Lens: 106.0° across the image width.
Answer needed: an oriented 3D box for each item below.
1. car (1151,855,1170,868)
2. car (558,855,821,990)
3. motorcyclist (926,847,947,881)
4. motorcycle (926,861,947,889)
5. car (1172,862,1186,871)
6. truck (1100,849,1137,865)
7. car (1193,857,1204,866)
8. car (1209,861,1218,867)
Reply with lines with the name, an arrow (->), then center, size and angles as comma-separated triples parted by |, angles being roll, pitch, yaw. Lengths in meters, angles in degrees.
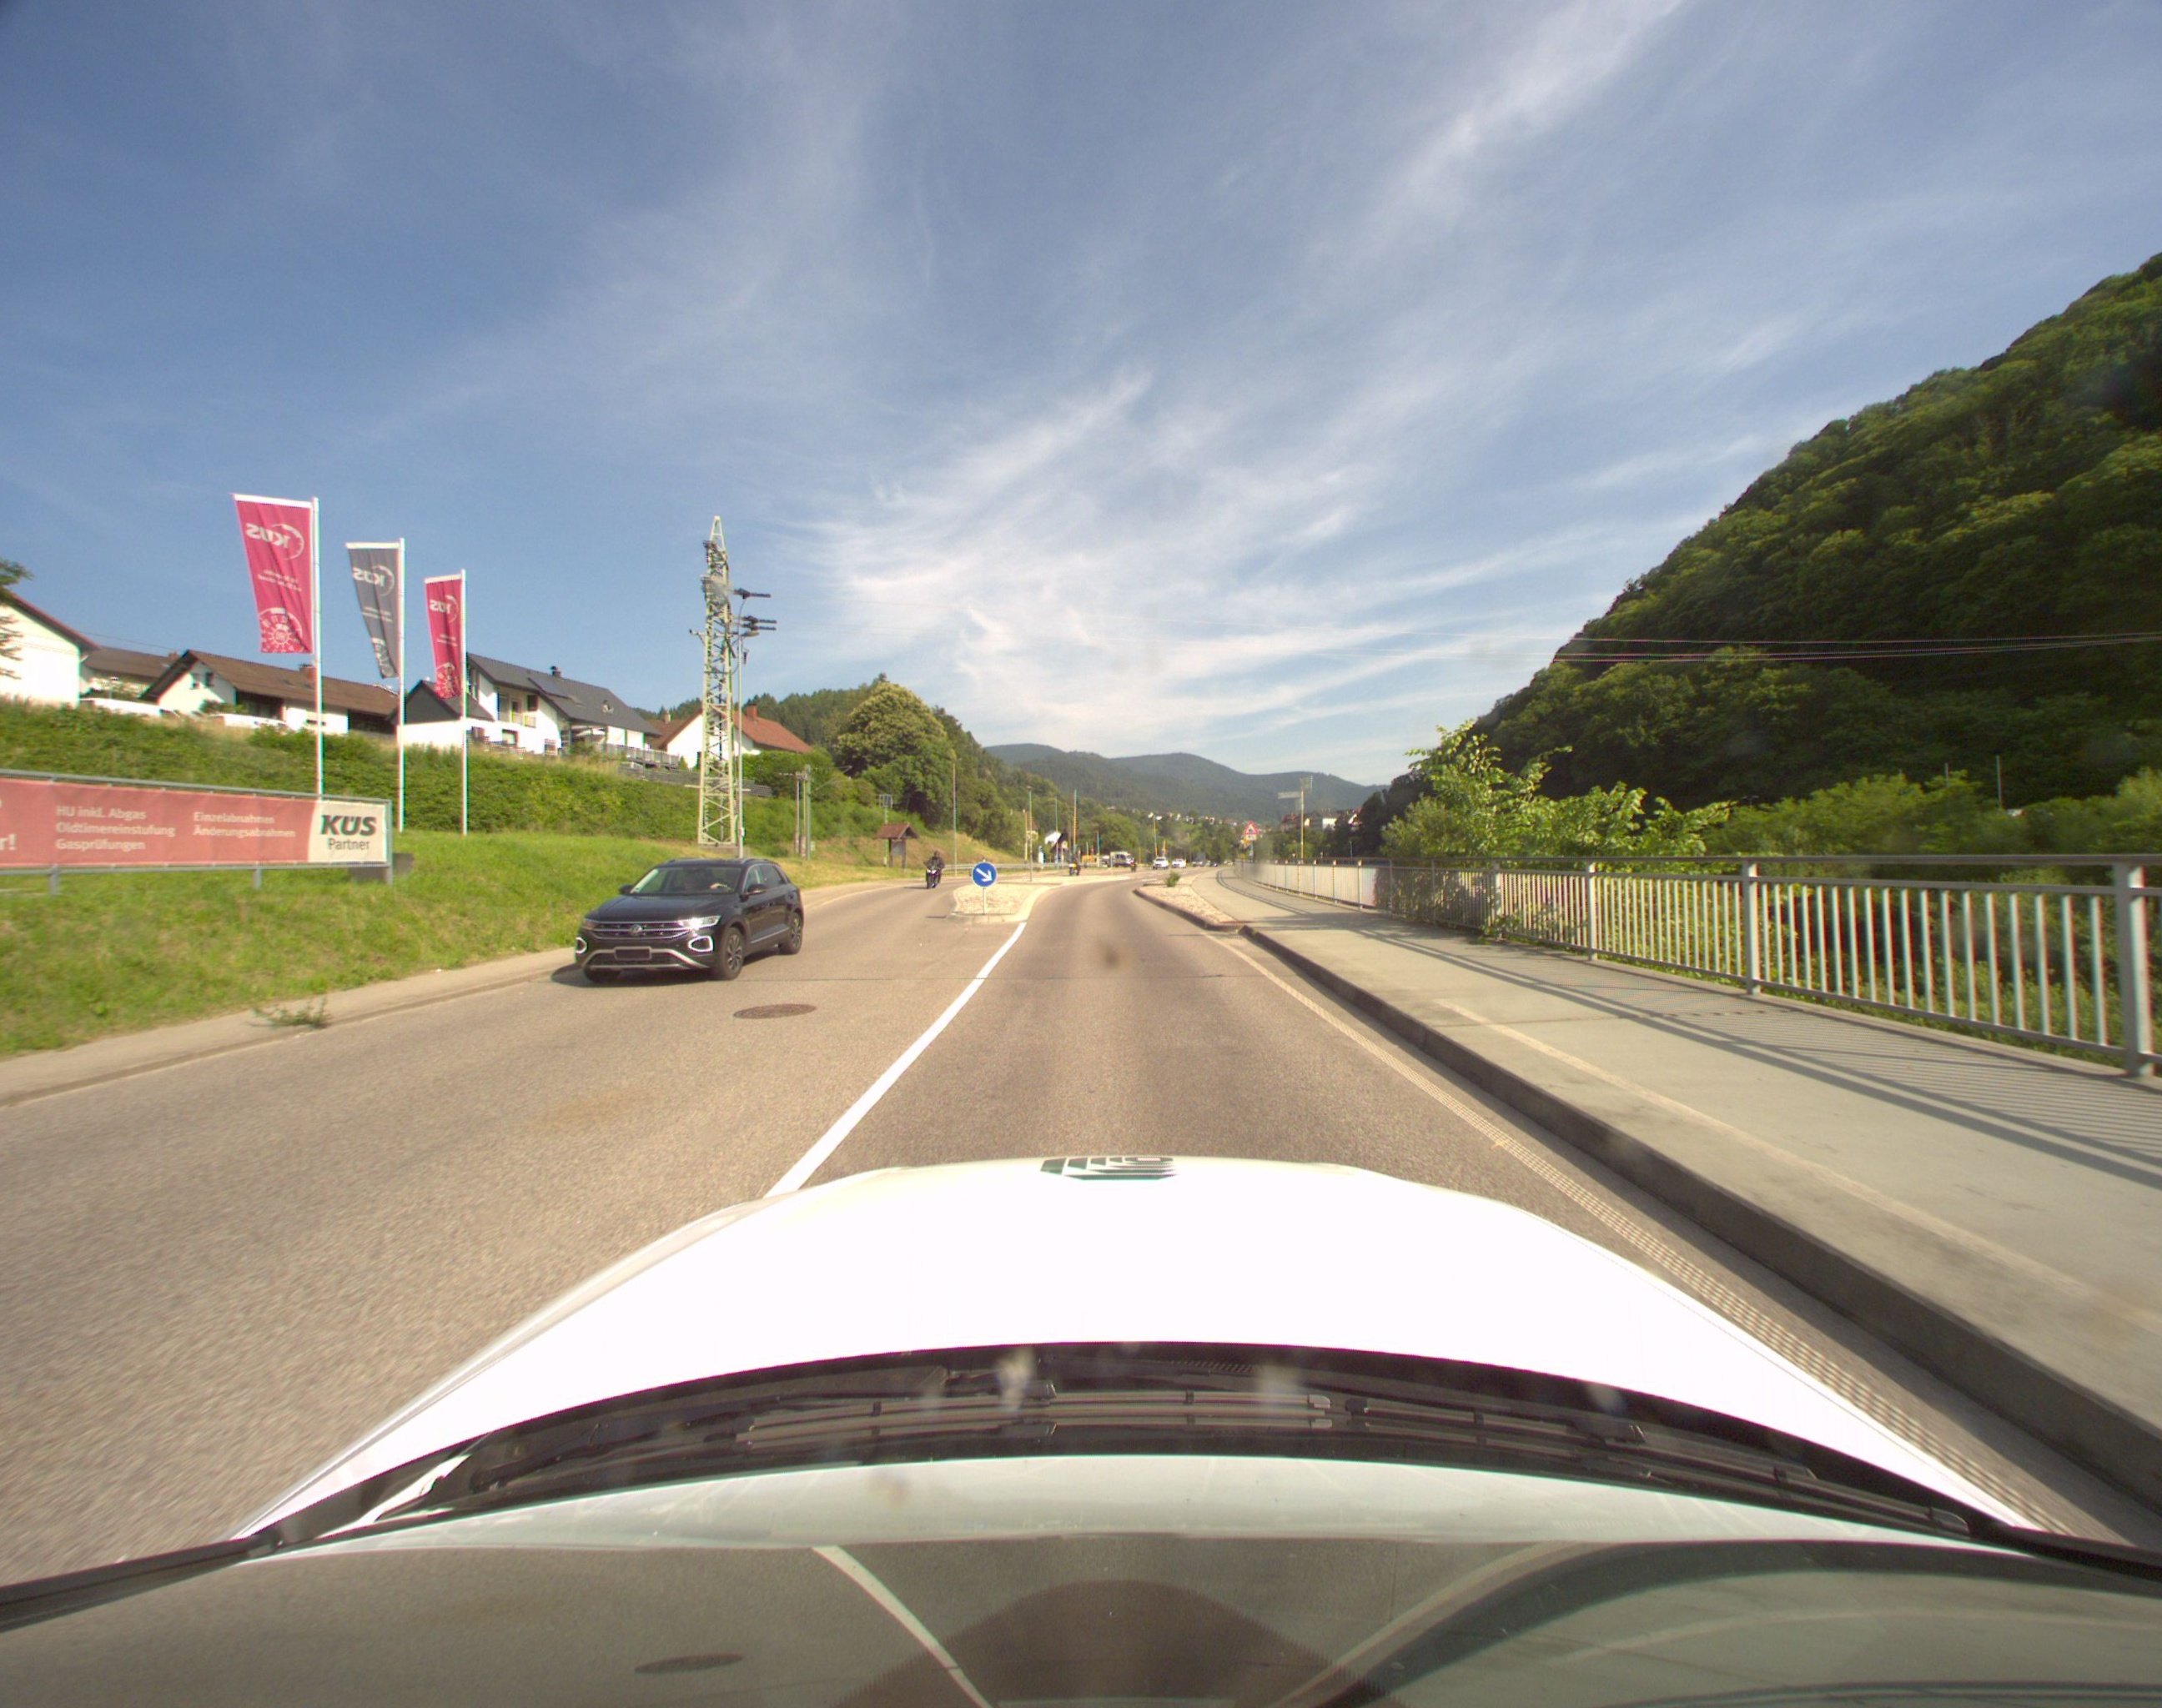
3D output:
car -> 10.725, 1.023, 110.023 | 1.750, 1.560, 4.018 | -1, 1, 17
car -> -5.213, 0.790, 11.580 | 1.770, 1.516, 4.269 | -1, 0, -2
motorcyclist -> -6.568, 0.434, 37.003 | 0.905, 1.519, 0.844 | -1, 0, -9
motorcycle -> -6.531, 0.945, 36.906 | 0.894, 1.183, 2.299 | -1, 0, -9
car -> 15.272, 1.930, 126.542 | 1.771, 1.400, 4.841 | 1, 0, 11
truck -> 5.673, 0.441, 124.493 | 2.011, 2.266, 5.930 | 0, 1, -44
car -> 22.789, 1.503, 158.141 | 1.746, 1.521, 4.218 | 0, -4, 13
car -> 31.312, 2.366, 192.301 | 1.761, 1.416, 3.798 | -1, 0, 13
